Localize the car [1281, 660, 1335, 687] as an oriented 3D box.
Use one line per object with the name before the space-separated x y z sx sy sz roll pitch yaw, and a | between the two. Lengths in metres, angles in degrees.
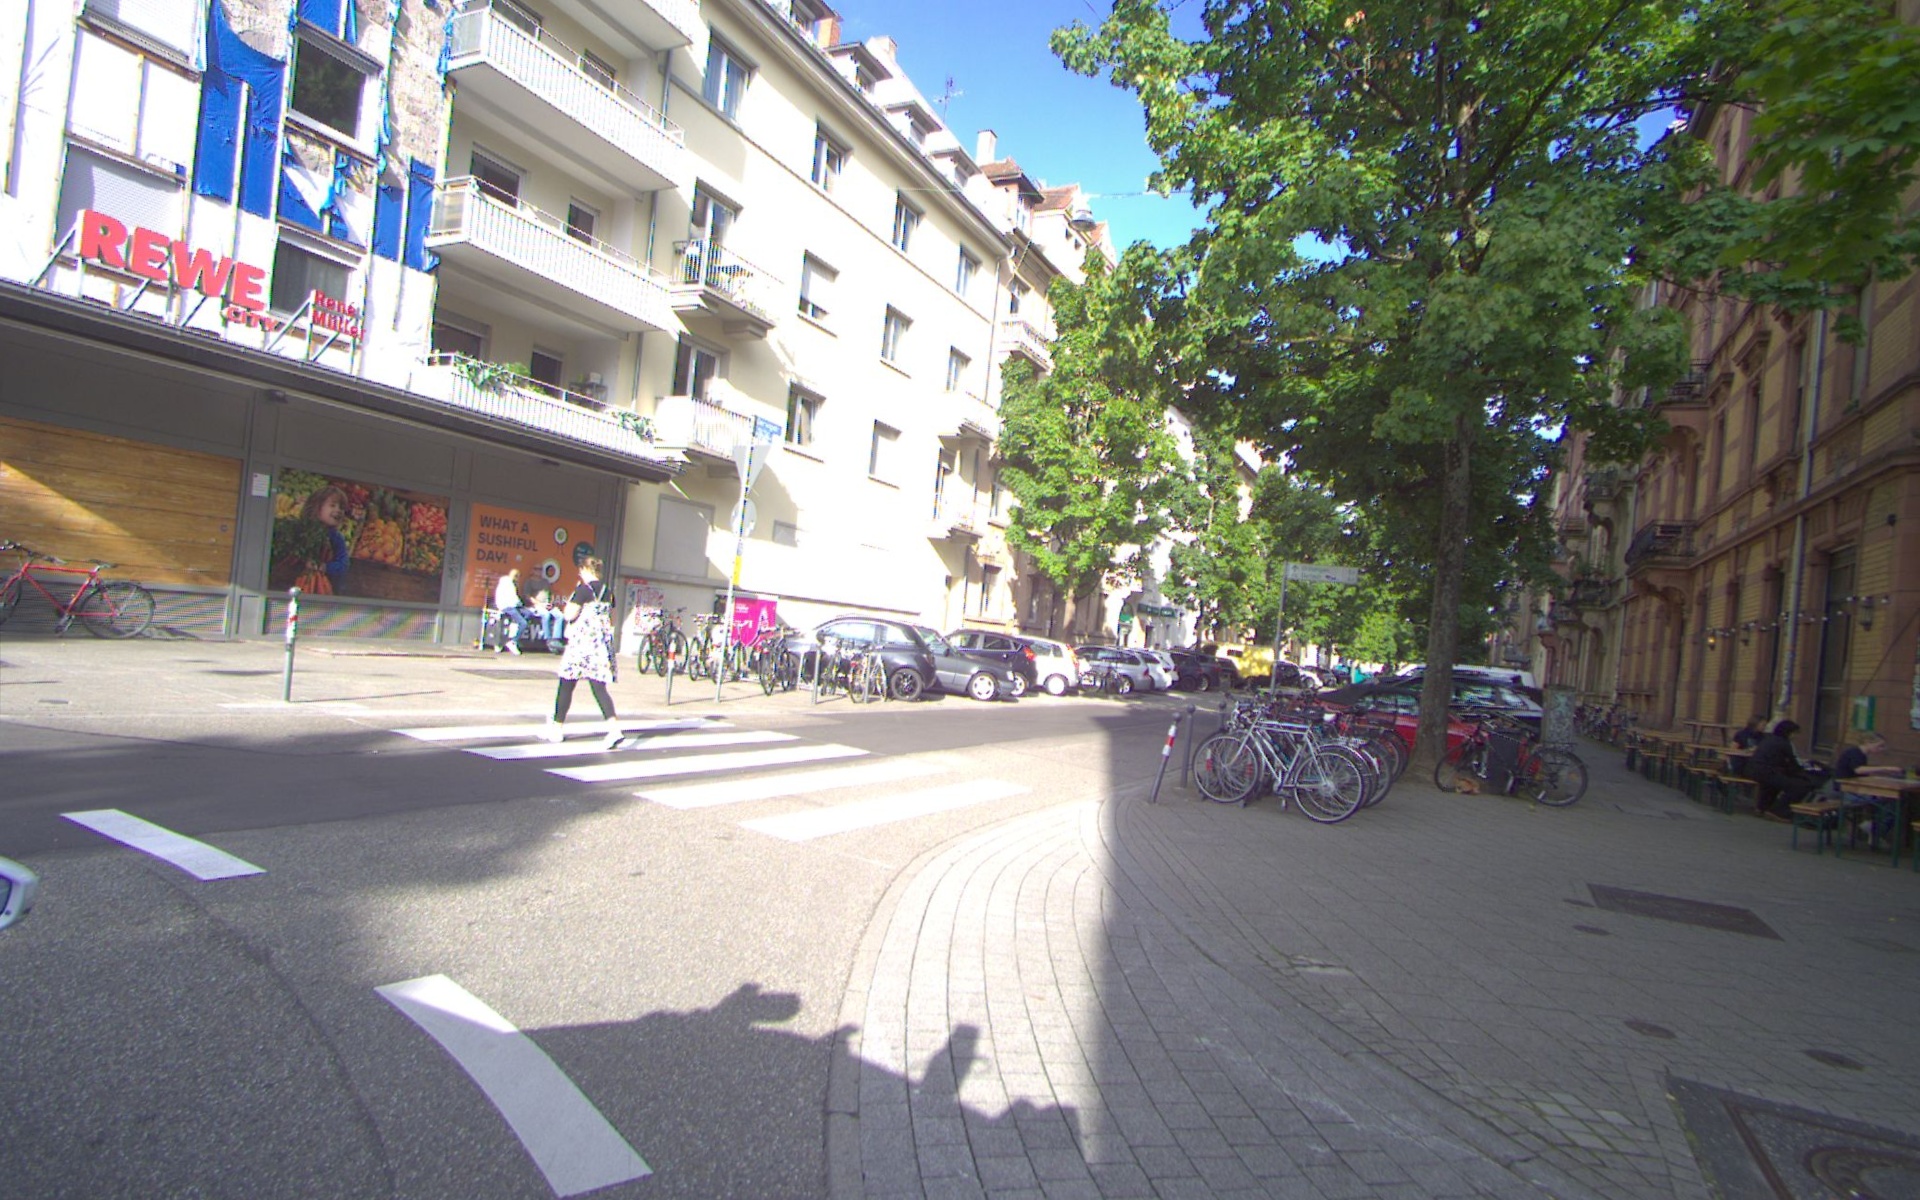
car | 28.590 6.045 82.741 3.775 1.658 1.737 7 -1 10

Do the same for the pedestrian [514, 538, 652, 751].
pedestrian | -3.387 0.395 9.087 0.827 1.774 0.614 6 0 1

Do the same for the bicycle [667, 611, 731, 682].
bicycle | -4.366 0.753 16.951 0.413 1.100 1.699 7 0 4

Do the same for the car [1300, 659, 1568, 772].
car | 8.841 2.086 18.852 4.245 1.588 2.002 3 -3 34

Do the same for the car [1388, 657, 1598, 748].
car | 14.402 2.727 27.536 4.825 2.013 2.046 3 -2 25

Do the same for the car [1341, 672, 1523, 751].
car | 10.914 2.545 23.303 3.647 1.474 1.668 2 -4 30

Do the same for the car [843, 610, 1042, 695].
car | -0.488 1.264 24.540 4.551 1.450 1.749 8 -1 -8

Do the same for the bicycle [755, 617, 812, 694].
bicycle | -2.939 0.907 16.895 0.405 1.190 1.854 7 -1 3

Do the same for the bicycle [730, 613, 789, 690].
bicycle | -3.353 0.846 16.980 0.405 1.190 1.854 7 -1 3

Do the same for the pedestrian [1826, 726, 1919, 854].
pedestrian | 9.932 2.047 10.966 0.632 1.240 0.510 4 0 35

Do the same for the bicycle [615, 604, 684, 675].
bicycle | -5.246 0.643 17.076 0.413 1.100 1.699 7 0 4

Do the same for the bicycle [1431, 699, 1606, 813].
bicycle | 6.839 1.875 12.365 1.771 1.128 0.598 4 0 32

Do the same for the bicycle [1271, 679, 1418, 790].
bicycle | 4.952 1.715 13.034 1.680 1.216 0.448 4 0 20

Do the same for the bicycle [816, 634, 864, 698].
bicycle | -2.078 1.127 17.526 0.483 1.013 1.424 7 -1 3

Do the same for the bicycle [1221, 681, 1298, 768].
bicycle | 4.447 1.779 14.793 0.572 1.109 2.497 2 -3 28

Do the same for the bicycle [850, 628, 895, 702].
bicycle | -1.523 1.110 17.679 0.405 1.190 1.854 7 -1 3

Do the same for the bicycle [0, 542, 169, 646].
bicycle | -10.373 -0.060 11.816 0.574 1.045 1.530 8 0 37

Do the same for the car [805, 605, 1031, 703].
car | -0.952 1.150 21.916 4.586 1.472 1.955 8 -1 -8

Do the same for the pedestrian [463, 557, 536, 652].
pedestrian | -7.840 0.088 17.149 0.656 1.524 0.753 6 0 22

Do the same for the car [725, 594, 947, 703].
car | -2.319 0.903 19.581 3.926 1.473 1.810 8 1 1

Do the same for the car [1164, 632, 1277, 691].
car | 12.774 2.993 49.547 4.725 2.247 2.148 8 -1 -4

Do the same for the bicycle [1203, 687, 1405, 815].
bicycle | 3.729 1.602 11.040 2.017 1.102 0.446 3 -1 41

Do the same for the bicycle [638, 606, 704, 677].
bicycle | -4.886 0.673 17.106 0.413 1.100 1.699 7 0 4

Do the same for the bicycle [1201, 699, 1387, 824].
bicycle | 3.352 1.593 10.204 1.689 0.999 0.446 3 -1 41

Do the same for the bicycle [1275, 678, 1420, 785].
bicycle | 5.190 1.738 13.526 1.684 1.216 0.447 4 0 32

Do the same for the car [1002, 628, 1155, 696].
car | 3.710 1.959 32.098 4.544 1.513 1.751 7 -1 0

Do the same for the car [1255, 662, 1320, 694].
car | 22.419 5.317 68.912 3.777 1.658 1.736 7 -1 1

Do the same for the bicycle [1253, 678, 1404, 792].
bicycle | 4.616 1.675 12.675 1.680 1.216 0.448 4 0 20

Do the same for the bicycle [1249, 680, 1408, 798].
bicycle | 4.422 1.656 12.152 1.680 1.216 0.448 4 0 14

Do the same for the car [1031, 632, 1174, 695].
car | 4.862 2.162 34.712 4.544 1.513 1.751 7 -1 0

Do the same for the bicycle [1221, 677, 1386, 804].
bicycle | 3.933 1.580 11.625 1.689 1.216 0.446 4 0 41

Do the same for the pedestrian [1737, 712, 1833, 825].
pedestrian | 10.484 2.115 12.814 0.756 1.300 0.629 4 -2 26

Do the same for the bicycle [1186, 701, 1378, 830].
bicycle | 3.108 1.570 9.820 1.689 0.981 0.446 3 -1 41

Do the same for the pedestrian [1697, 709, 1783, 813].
pedestrian | 10.699 2.188 13.820 0.756 1.300 0.629 4 -2 26

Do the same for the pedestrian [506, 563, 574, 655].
pedestrian | -7.468 0.166 17.895 0.740 1.524 0.667 6 0 24

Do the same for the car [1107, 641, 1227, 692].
car | 8.599 2.754 42.040 4.544 1.513 1.751 7 -1 0

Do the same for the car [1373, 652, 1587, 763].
car | 10.682 2.168 20.800 3.645 1.741 1.859 5 -2 30

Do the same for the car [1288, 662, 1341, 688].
car | 30.006 6.329 85.226 3.775 1.658 1.737 7 -1 10

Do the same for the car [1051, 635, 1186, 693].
car | 5.801 2.337 37.139 4.544 1.513 1.751 7 -1 0

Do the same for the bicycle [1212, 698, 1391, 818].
bicycle | 3.563 1.623 10.590 1.689 0.999 0.446 3 -1 41

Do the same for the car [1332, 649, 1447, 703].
car | 23.077 4.083 54.148 5.388 2.227 1.999 5 -2 28

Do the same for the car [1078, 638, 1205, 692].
car | 7.105 2.541 39.623 4.544 1.513 1.751 7 -1 0

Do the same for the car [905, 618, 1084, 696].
car | 0.910 1.531 27.230 4.544 1.451 1.751 7 -1 0

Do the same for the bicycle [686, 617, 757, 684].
bicycle | -3.990 0.856 16.920 0.405 1.031 1.503 7 -1 14

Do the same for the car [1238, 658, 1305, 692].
car | 20.006 4.835 64.730 3.775 1.658 1.737 7 -1 10

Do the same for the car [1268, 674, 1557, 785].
car | 7.269 2.051 16.403 4.040 1.284 1.568 3 -3 26
